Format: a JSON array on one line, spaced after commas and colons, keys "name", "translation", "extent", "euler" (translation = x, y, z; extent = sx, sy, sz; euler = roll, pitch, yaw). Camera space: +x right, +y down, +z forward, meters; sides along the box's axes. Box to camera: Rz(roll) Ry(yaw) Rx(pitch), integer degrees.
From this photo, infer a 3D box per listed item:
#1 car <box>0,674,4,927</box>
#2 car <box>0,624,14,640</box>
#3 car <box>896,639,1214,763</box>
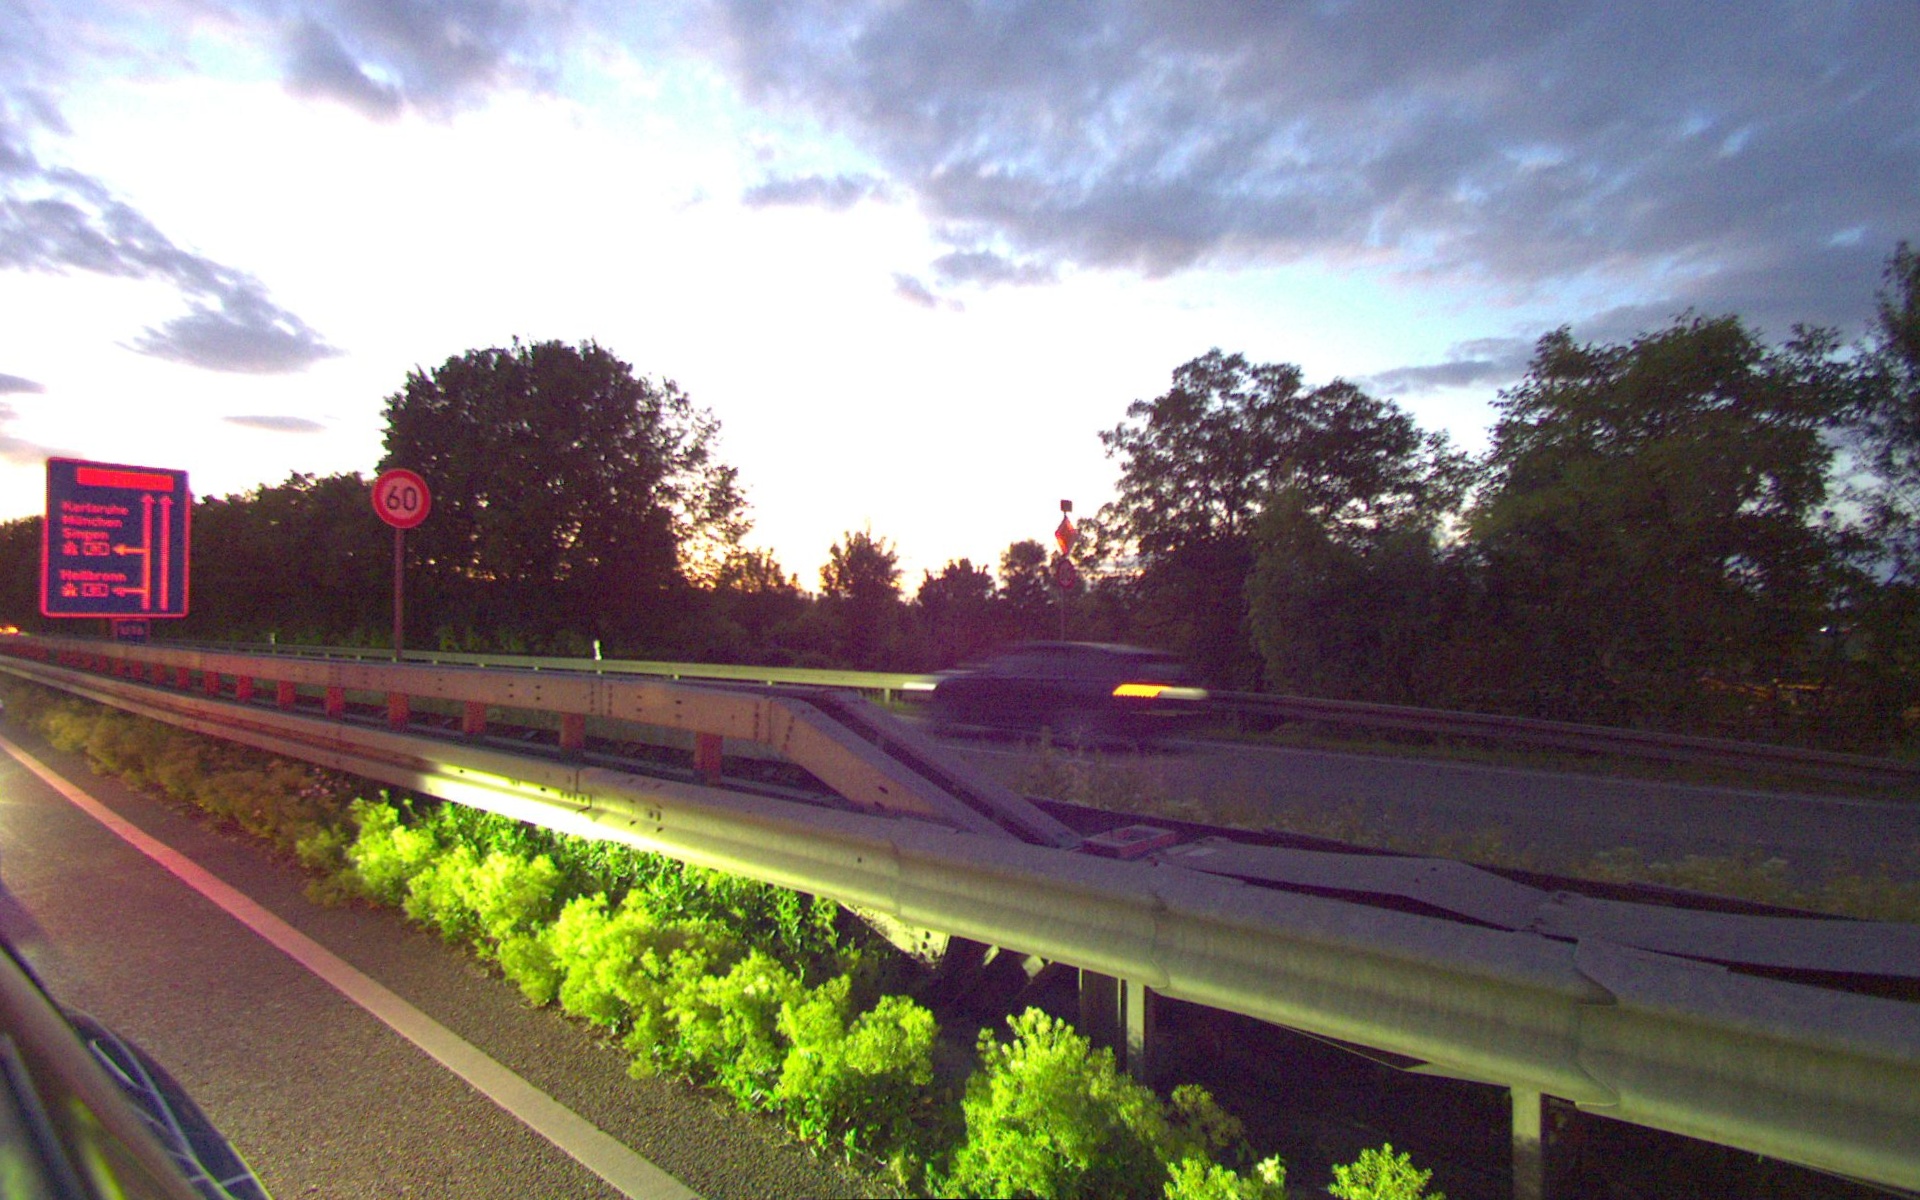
[{"name": "car", "translation": [-6.746, 0.861, 5.575], "extent": [4.645, 1.447, 1.795], "euler": [-2, -1, 42]}, {"name": "car", "translation": [-94.901, 3.152, 99.920], "extent": [3.998, 1.572, 1.758], "euler": [-1, 0, 41]}, {"name": "car", "translation": [1.247, 1.350, 14.811], "extent": [4.590, 1.516, 1.611], "euler": [-1, -3, 42]}]
